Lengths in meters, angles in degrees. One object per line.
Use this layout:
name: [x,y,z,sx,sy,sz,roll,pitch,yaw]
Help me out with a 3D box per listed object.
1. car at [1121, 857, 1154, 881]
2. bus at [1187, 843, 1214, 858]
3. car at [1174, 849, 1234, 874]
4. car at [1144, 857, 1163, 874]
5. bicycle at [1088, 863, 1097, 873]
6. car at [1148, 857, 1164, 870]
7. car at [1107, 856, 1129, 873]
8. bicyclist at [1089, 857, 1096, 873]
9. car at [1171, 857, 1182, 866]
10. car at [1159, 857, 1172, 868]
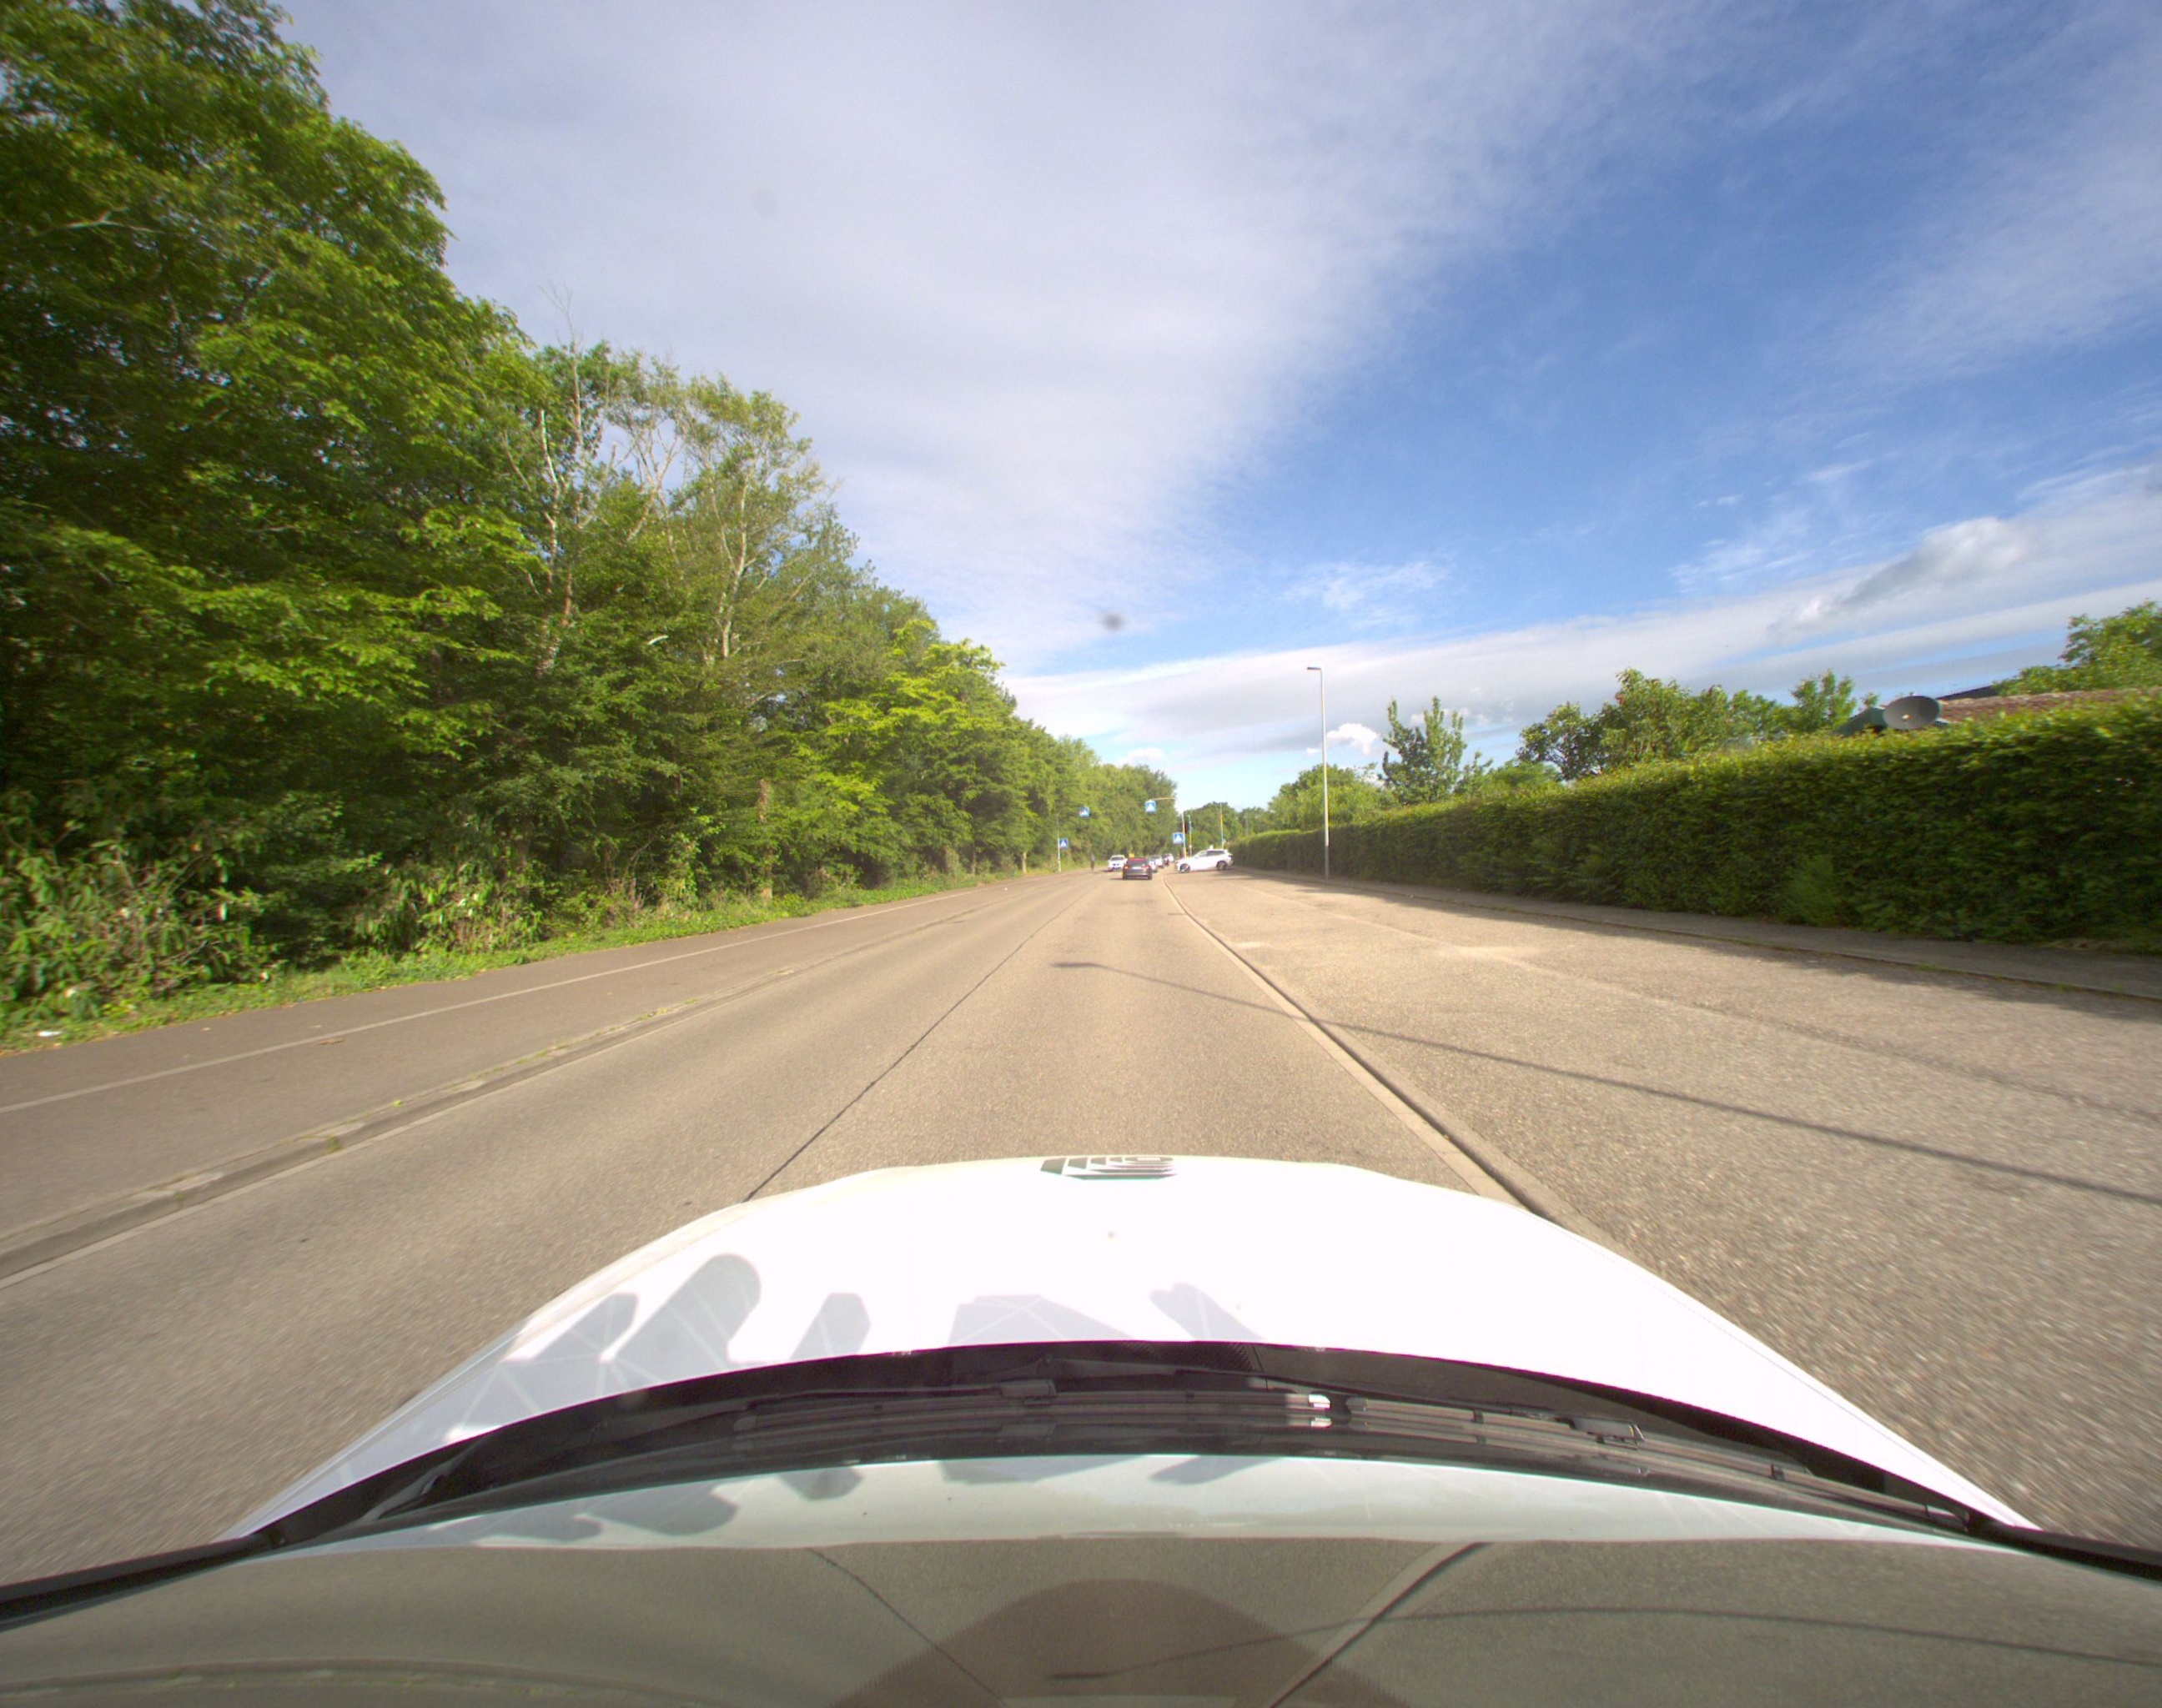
car: [3.527,0.910,51.425,1.958,1.434,4.340,-1,0,3]
bus: [24.832,-0.709,169.269,5.339,2.747,2.071,-3,-1,5]
car: [9.684,0.605,64.257,4.562,1.699,1.767,-3,-1,8]
car: [6.339,0.992,71.041,1.487,1.366,3.268,-2,0,6]
bicycle: [1.239,1.500,87.090,0.658,1.097,2.354,0,0,9]
car: [8.145,0.997,88.623,1.487,1.304,3.269,-2,-1,8]
car: [3.843,1.051,83.538,1.792,1.585,4.111,-3,-1,8]
bicyclist: [1.257,1.206,87.056,0.605,1.677,0.886,-1,-1,8]
car: [15.554,1.150,132.810,1.485,1.366,3.273,-2,-1,12]
car: [11.125,1.145,107.460,1.487,1.366,3.269,-2,-1,8]
